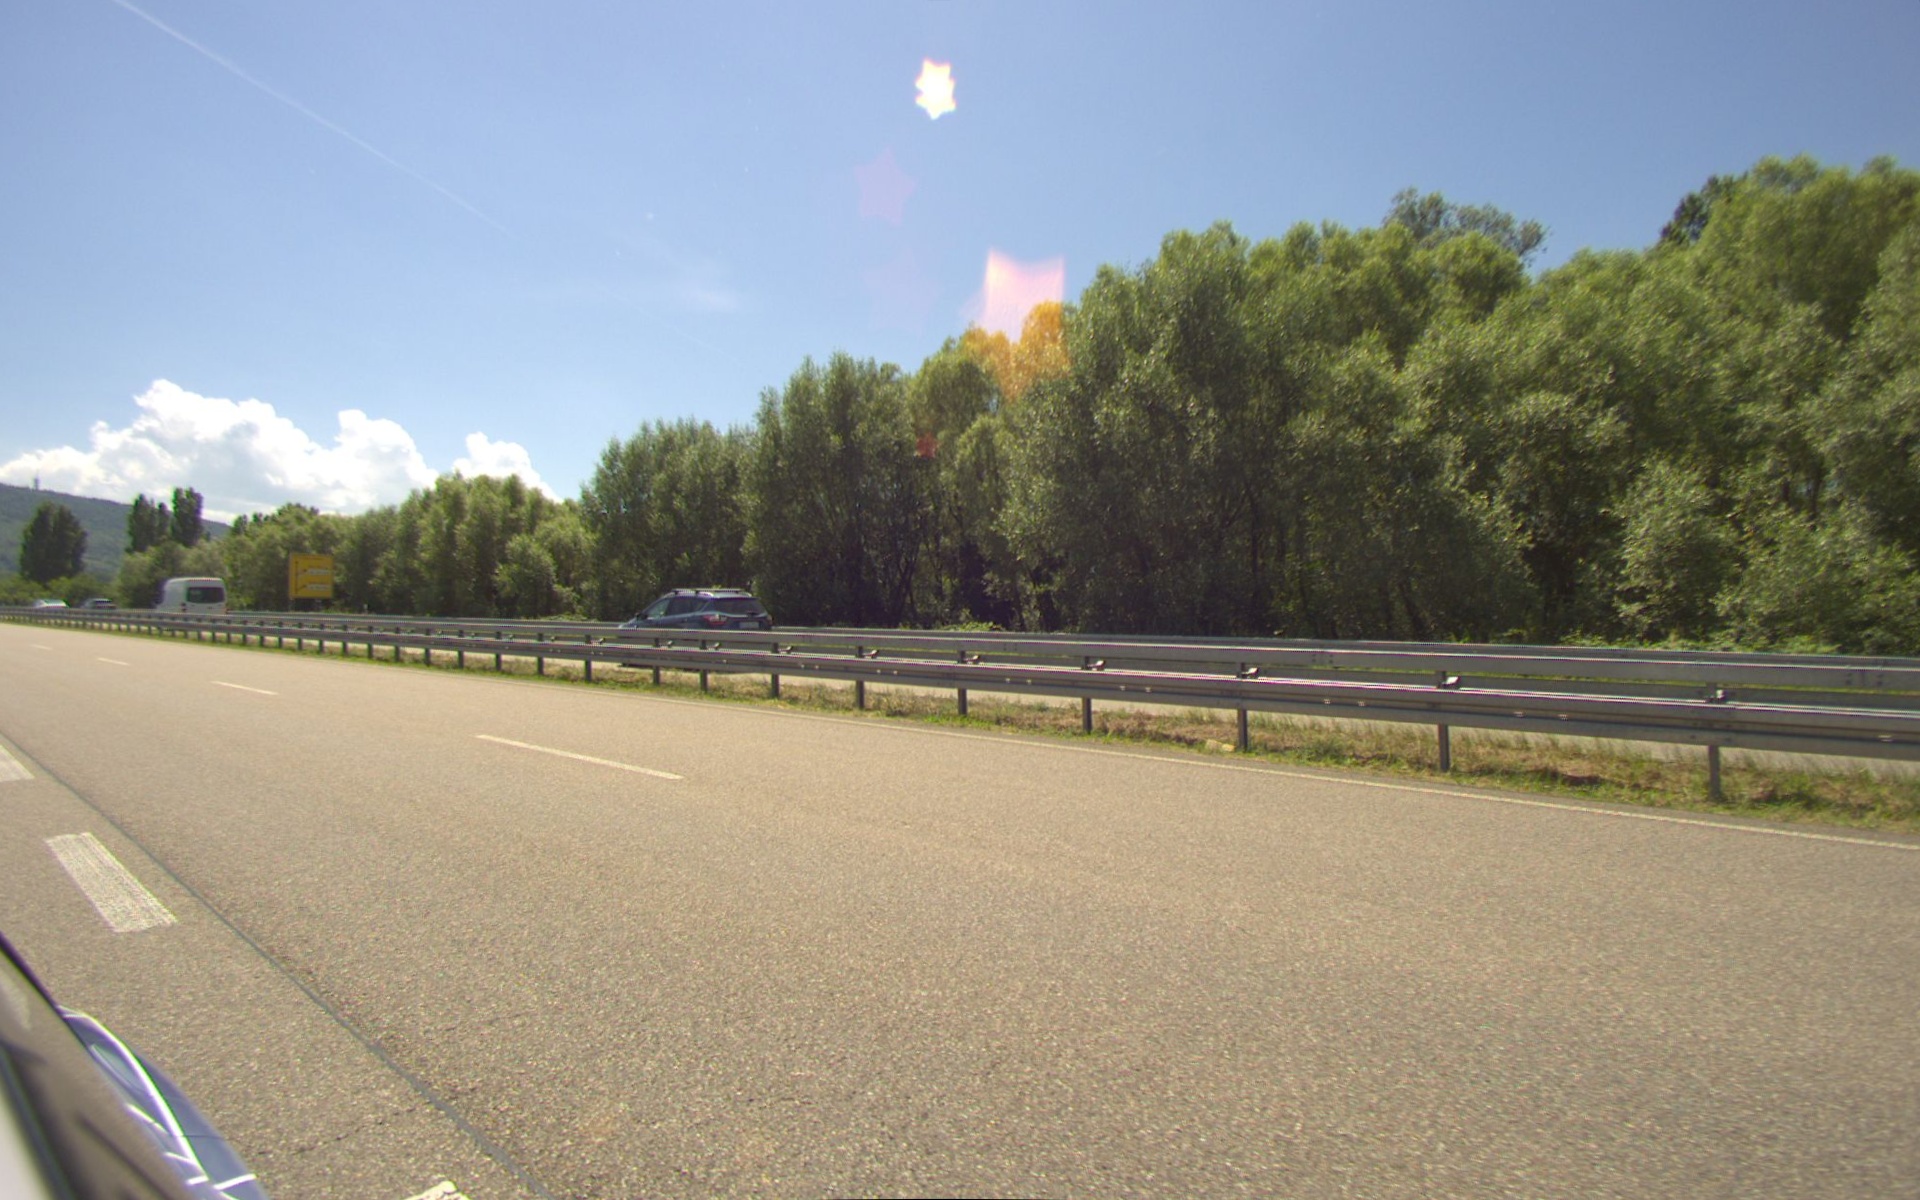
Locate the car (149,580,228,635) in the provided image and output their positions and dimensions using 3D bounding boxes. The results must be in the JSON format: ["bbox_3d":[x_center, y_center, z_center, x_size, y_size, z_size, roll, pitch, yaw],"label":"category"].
[{"bbox_3d":[-40.301,0.358,52.792,6.625,2.703,2.080,0,0,42],"label":"car"}]

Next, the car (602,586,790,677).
[{"bbox_3d":[-6.019,0.650,22.784,4.658,1.844,1.843,0,0,42],"label":"car"}]

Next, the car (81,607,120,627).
[{"bbox_3d":[-70.376,1.372,82.851,4.068,1.563,1.673,0,0,37],"label":"car"}]

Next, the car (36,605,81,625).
[{"bbox_3d":[-68.104,1.099,76.427,3.995,1.500,1.899,0,0,39],"label":"car"}]
